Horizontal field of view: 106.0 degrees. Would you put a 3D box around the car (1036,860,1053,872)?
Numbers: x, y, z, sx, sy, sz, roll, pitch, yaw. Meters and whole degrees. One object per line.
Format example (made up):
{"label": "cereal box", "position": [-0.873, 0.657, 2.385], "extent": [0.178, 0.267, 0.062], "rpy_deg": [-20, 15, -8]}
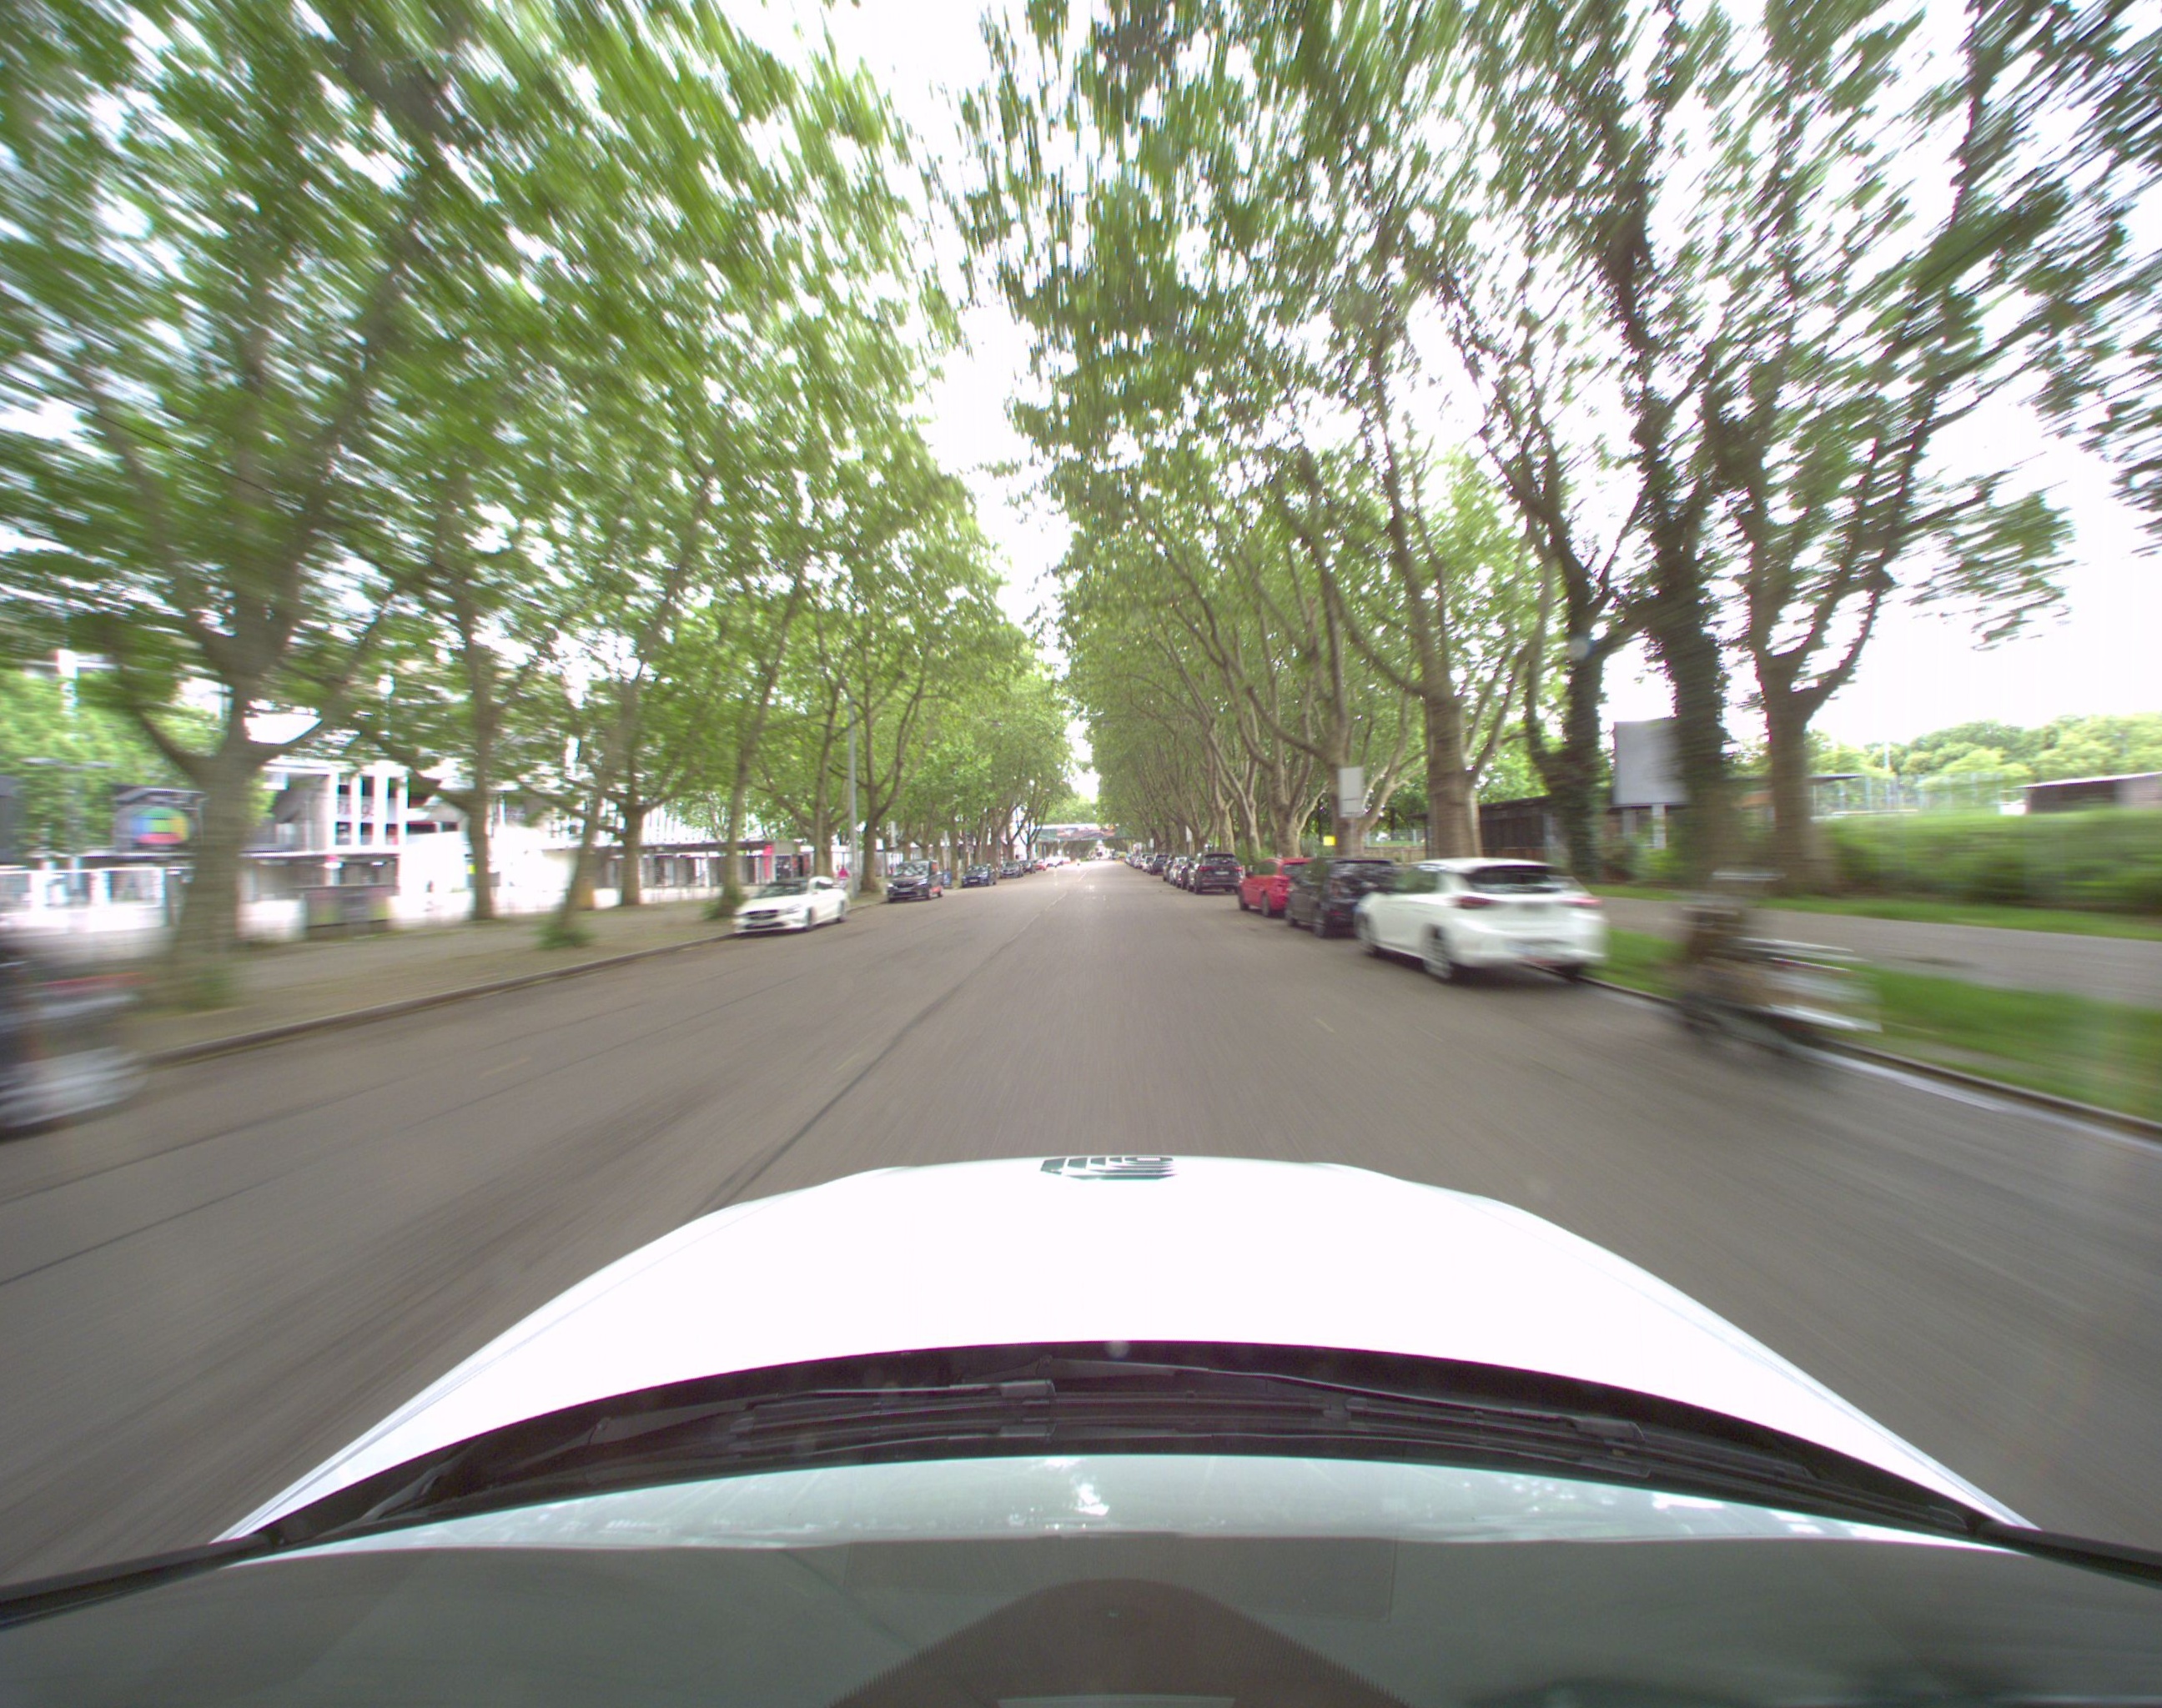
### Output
{"label": "car", "position": [-4.498, 1.444, 100.876], "extent": [1.801, 1.354, 4.002], "rpy_deg": [-2, 0, 2]}

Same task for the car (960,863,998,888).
{"label": "car", "position": [-6.650, 1.361, 53.276], "extent": [1.718, 1.486, 4.576], "rpy_deg": [-2, 0, 2]}

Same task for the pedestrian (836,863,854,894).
{"label": "pedestrian", "position": [-13.509, 1.387, 46.636], "extent": [0.570, 1.742, 0.771], "rpy_deg": [-2, -1, 16]}

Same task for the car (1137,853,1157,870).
{"label": "car", "position": [7.113, 0.847, 88.580], "extent": [1.896, 1.739, 4.508], "rpy_deg": [-2, 0, 2]}

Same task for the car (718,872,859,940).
{"label": "car", "position": [-7.787, 1.317, 22.231], "extent": [1.897, 1.402, 4.753], "rpy_deg": [-5, 0, 2]}

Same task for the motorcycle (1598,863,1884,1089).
{"label": "motorcycle", "position": [4.625, 0.753, 5.934], "extent": [0.708, 1.331, 1.998], "rpy_deg": [-2, 0, 10]}

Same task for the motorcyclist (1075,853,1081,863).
{"label": "motorcyclist", "position": [-0.525, 0.597, 128.631], "extent": [0.868, 1.480, 1.264], "rpy_deg": [-2, -1, -2]}

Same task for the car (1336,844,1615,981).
{"label": "car", "position": [4.942, 0.645, 10.939], "extent": [1.729, 1.438, 4.122], "rpy_deg": [-2, 0, 0]}

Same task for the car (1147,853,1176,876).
{"label": "car", "position": [6.104, 0.759, 62.118], "extent": [1.702, 1.698, 4.630], "rpy_deg": [0, 0, 0]}

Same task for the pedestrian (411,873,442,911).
{"label": "pedestrian", "position": [-30.118, 1.738, 37.483], "extent": [0.721, 1.691, 0.809], "rpy_deg": [-2, -1, 5]}

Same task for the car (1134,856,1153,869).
{"label": "car", "position": [7.221, 0.929, 94.255], "extent": [1.870, 1.427, 4.586], "rpy_deg": [-2, 0, 1]}

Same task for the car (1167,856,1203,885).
{"label": "car", "position": [5.522, 0.855, 43.451], "extent": [1.610, 1.441, 3.712], "rpy_deg": [0, 0, 3]}

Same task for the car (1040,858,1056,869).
{"label": "car", "position": [-5.035, 1.471, 125.246], "extent": [2.065, 1.563, 4.758], "rpy_deg": [-2, 0, 2]}

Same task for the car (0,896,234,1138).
{"label": "car", "position": [-7.987, 1.175, 4.464], "extent": [1.826, 1.494, 4.444], "rpy_deg": [-5, 0, 2]}

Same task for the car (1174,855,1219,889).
{"label": "car", "position": [5.341, 0.804, 38.146], "extent": [1.662, 1.509, 4.355], "rpy_deg": [0, 0, 2]}

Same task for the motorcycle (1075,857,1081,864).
{"label": "motorcycle", "position": [-0.518, 1.007, 128.587], "extent": [0.871, 1.079, 3.050], "rpy_deg": [-2, 0, -2]}

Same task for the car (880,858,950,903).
{"label": "car", "position": [-7.228, 1.113, 35.869], "extent": [1.942, 1.750, 4.639], "rpy_deg": [-4, 0, 1]}

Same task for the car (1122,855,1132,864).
{"label": "car", "position": [8.903, 1.034, 158.138], "extent": [1.840, 1.783, 5.213], "rpy_deg": [-1, -1, 2]}

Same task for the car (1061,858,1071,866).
{"label": "car", "position": [-3.409, 1.782, 182.781], "extent": [1.989, 1.601, 3.995], "rpy_deg": [-2, 0, -4]}

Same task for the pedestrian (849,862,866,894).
{"label": "pedestrian", "position": [-12.791, 1.373, 46.609], "extent": [0.572, 1.770, 0.771], "rpy_deg": [-2, -1, 16]}

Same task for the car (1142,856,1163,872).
{"label": "car", "position": [6.540, 0.931, 74.968], "extent": [1.701, 1.427, 3.890], "rpy_deg": [-1, 0, 2]}

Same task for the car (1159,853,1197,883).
{"label": "car", "position": [5.822, 0.835, 49.154], "extent": [1.771, 1.673, 4.638], "rpy_deg": [-2, 0, 1]}

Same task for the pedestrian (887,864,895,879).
{"label": "pedestrian", "position": [-20.096, 1.843, 86.086], "extent": [0.665, 1.544, 0.660], "rpy_deg": [-2, -1, 2]}

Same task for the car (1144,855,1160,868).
{"label": "car", "position": [9.686, 1.001, 111.050], "extent": [1.796, 1.555, 4.001], "rpy_deg": [-2, 0, 1]}

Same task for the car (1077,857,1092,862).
{"label": "car", "position": [1.204, 1.805, 258.566], "extent": [4.681, 1.584, 1.865], "rpy_deg": [-2, -1, 2]}

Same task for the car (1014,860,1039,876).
{"label": "car", "position": [-5.489, 1.374, 82.840], "extent": [1.819, 1.465, 4.632], "rpy_deg": [-3, -1, 4]}

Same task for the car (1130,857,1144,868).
{"label": "car", "position": [7.708, 1.196, 112.275], "extent": [1.869, 1.427, 4.482], "rpy_deg": [-2, 0, 2]}

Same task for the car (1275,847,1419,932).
{"label": "car", "position": [5.124, 0.627, 16.246], "extent": [1.723, 1.470, 4.083], "rpy_deg": [1, 0, 3]}

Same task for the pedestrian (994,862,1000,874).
{"label": "pedestrian", "position": [-10.916, 1.805, 105.796], "extent": [0.588, 1.620, 0.794], "rpy_deg": [-2, -1, 11]}

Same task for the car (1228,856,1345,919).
{"label": "car", "position": [5.144, 0.773, 21.054], "extent": [1.712, 1.438, 4.625], "rpy_deg": [0, 0, -2]}

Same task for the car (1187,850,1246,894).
{"label": "car", "position": [5.350, 0.689, 32.644], "extent": [1.749, 1.620, 4.441], "rpy_deg": [0, 0, 2]}

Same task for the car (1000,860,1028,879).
{"label": "car", "position": [-5.836, 1.338, 71.420], "extent": [1.871, 1.527, 4.153], "rpy_deg": [-3, 0, 2]}
